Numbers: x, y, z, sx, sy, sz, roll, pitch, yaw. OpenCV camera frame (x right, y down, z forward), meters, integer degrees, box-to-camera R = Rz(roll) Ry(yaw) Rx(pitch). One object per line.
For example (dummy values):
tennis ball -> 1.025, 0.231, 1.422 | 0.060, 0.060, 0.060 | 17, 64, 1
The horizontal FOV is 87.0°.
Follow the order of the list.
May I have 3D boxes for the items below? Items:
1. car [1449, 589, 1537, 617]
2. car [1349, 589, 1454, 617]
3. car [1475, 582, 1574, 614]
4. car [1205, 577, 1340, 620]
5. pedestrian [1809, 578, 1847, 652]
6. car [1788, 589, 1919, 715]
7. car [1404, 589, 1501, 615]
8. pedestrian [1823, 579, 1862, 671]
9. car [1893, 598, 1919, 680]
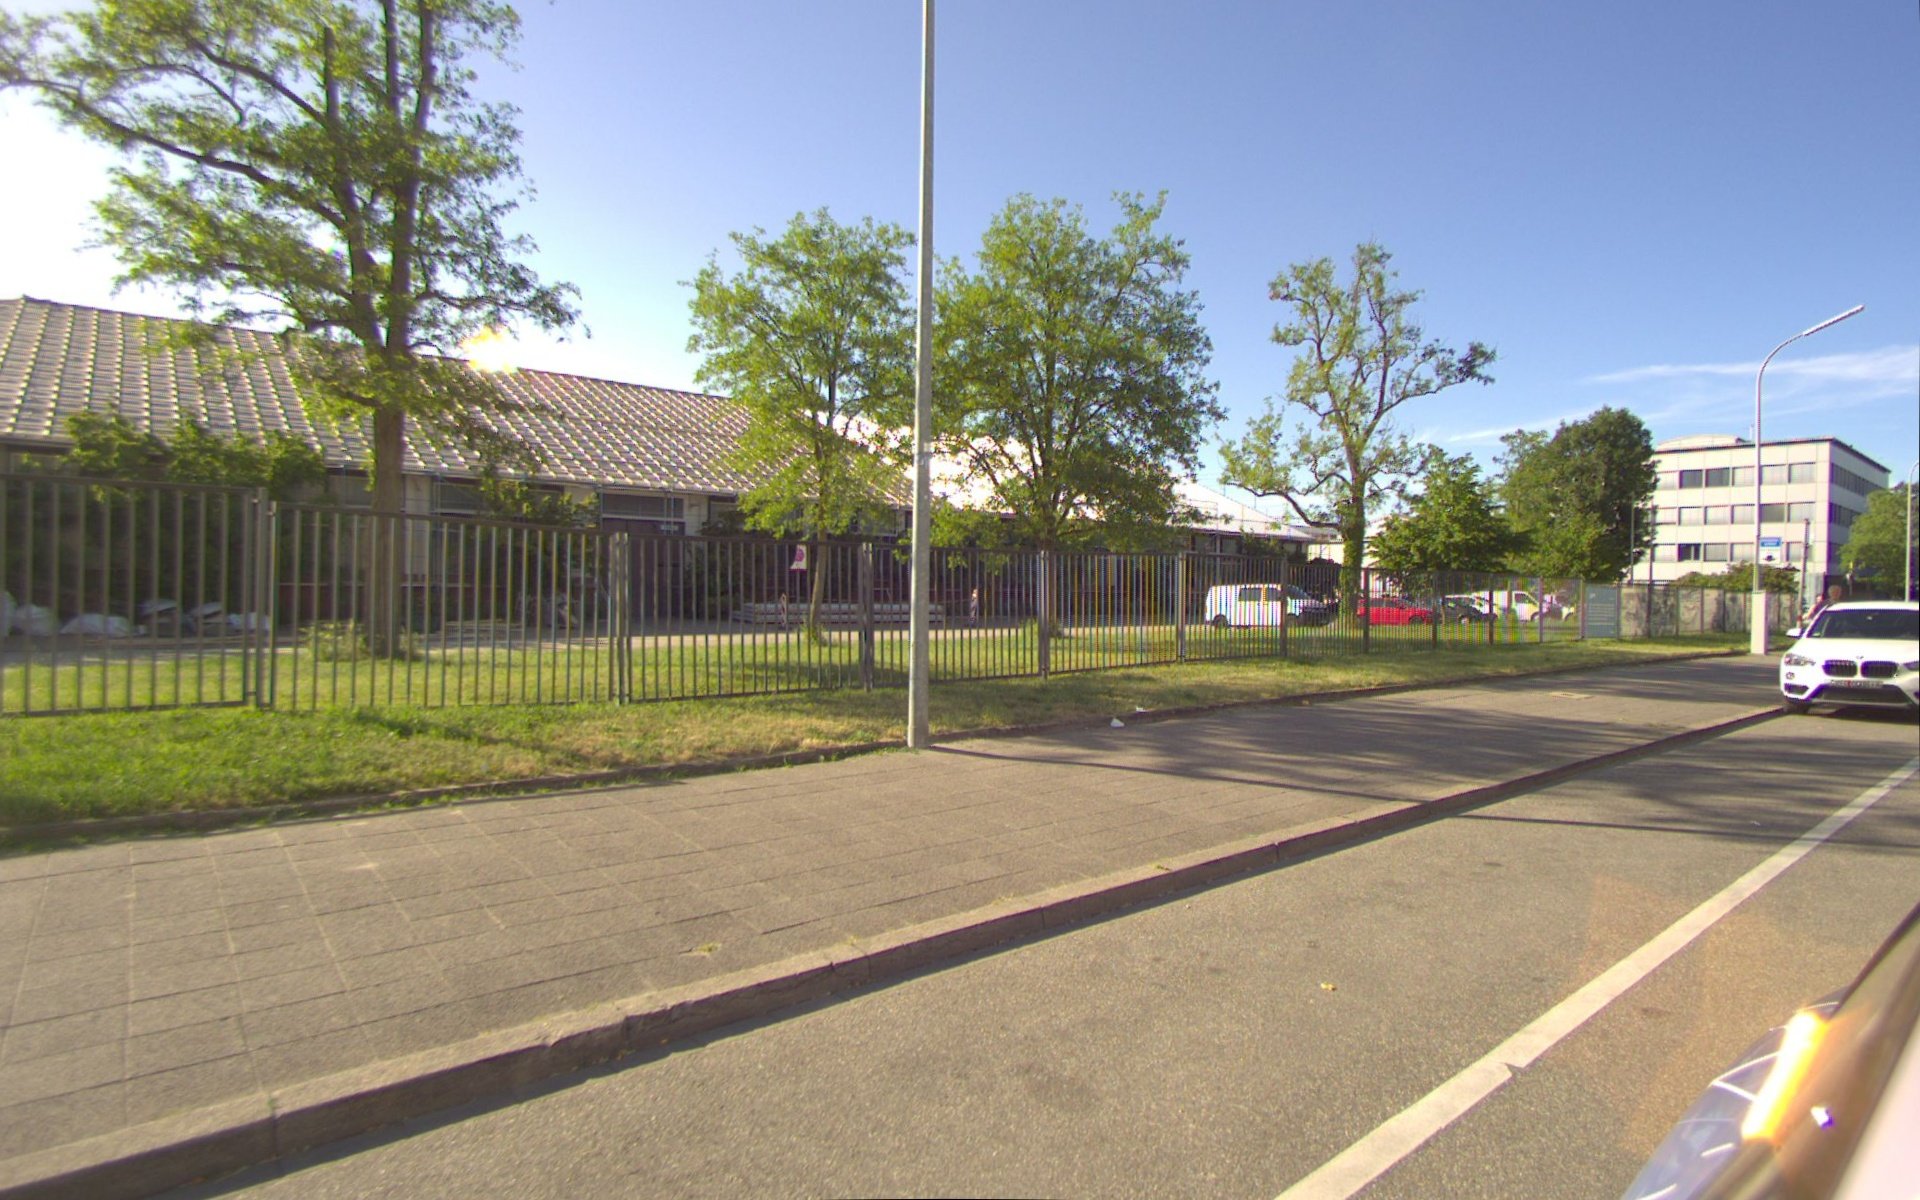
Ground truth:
car -> 28.887, 0.145, 54.876 | 1.647, 1.397, 3.894 | 1, 1, -42
car -> 20.603, 0.160, 47.342 | 1.797, 1.268, 4.147 | 0, -1, -42
car -> 32.457, -0.125, 58.238 | 1.967, 1.689, 4.631 | 0, 1, -45
car -> 12.761, -0.041, 41.560 | 2.060, 1.665, 4.971 | 0, -1, -42
pedestrian -> 19.393, 0.323, 22.624 | 0.537, 1.632, 0.674 | -1, -1, 35
car -> 13.503, 0.666, 14.588 | 4.188, 1.608, 1.815 | 0, -1, -42
car -> 25.417, 0.111, 52.354 | 1.847, 1.268, 4.147 | 0, -1, -42
pedestrian -> 16.916, 0.465, 19.404 | 0.520, 1.730, 0.515 | -1, -1, 41
car -> 19.320, 0.720, 19.473 | 3.913, 1.506, 1.702 | 0, -1, -43
